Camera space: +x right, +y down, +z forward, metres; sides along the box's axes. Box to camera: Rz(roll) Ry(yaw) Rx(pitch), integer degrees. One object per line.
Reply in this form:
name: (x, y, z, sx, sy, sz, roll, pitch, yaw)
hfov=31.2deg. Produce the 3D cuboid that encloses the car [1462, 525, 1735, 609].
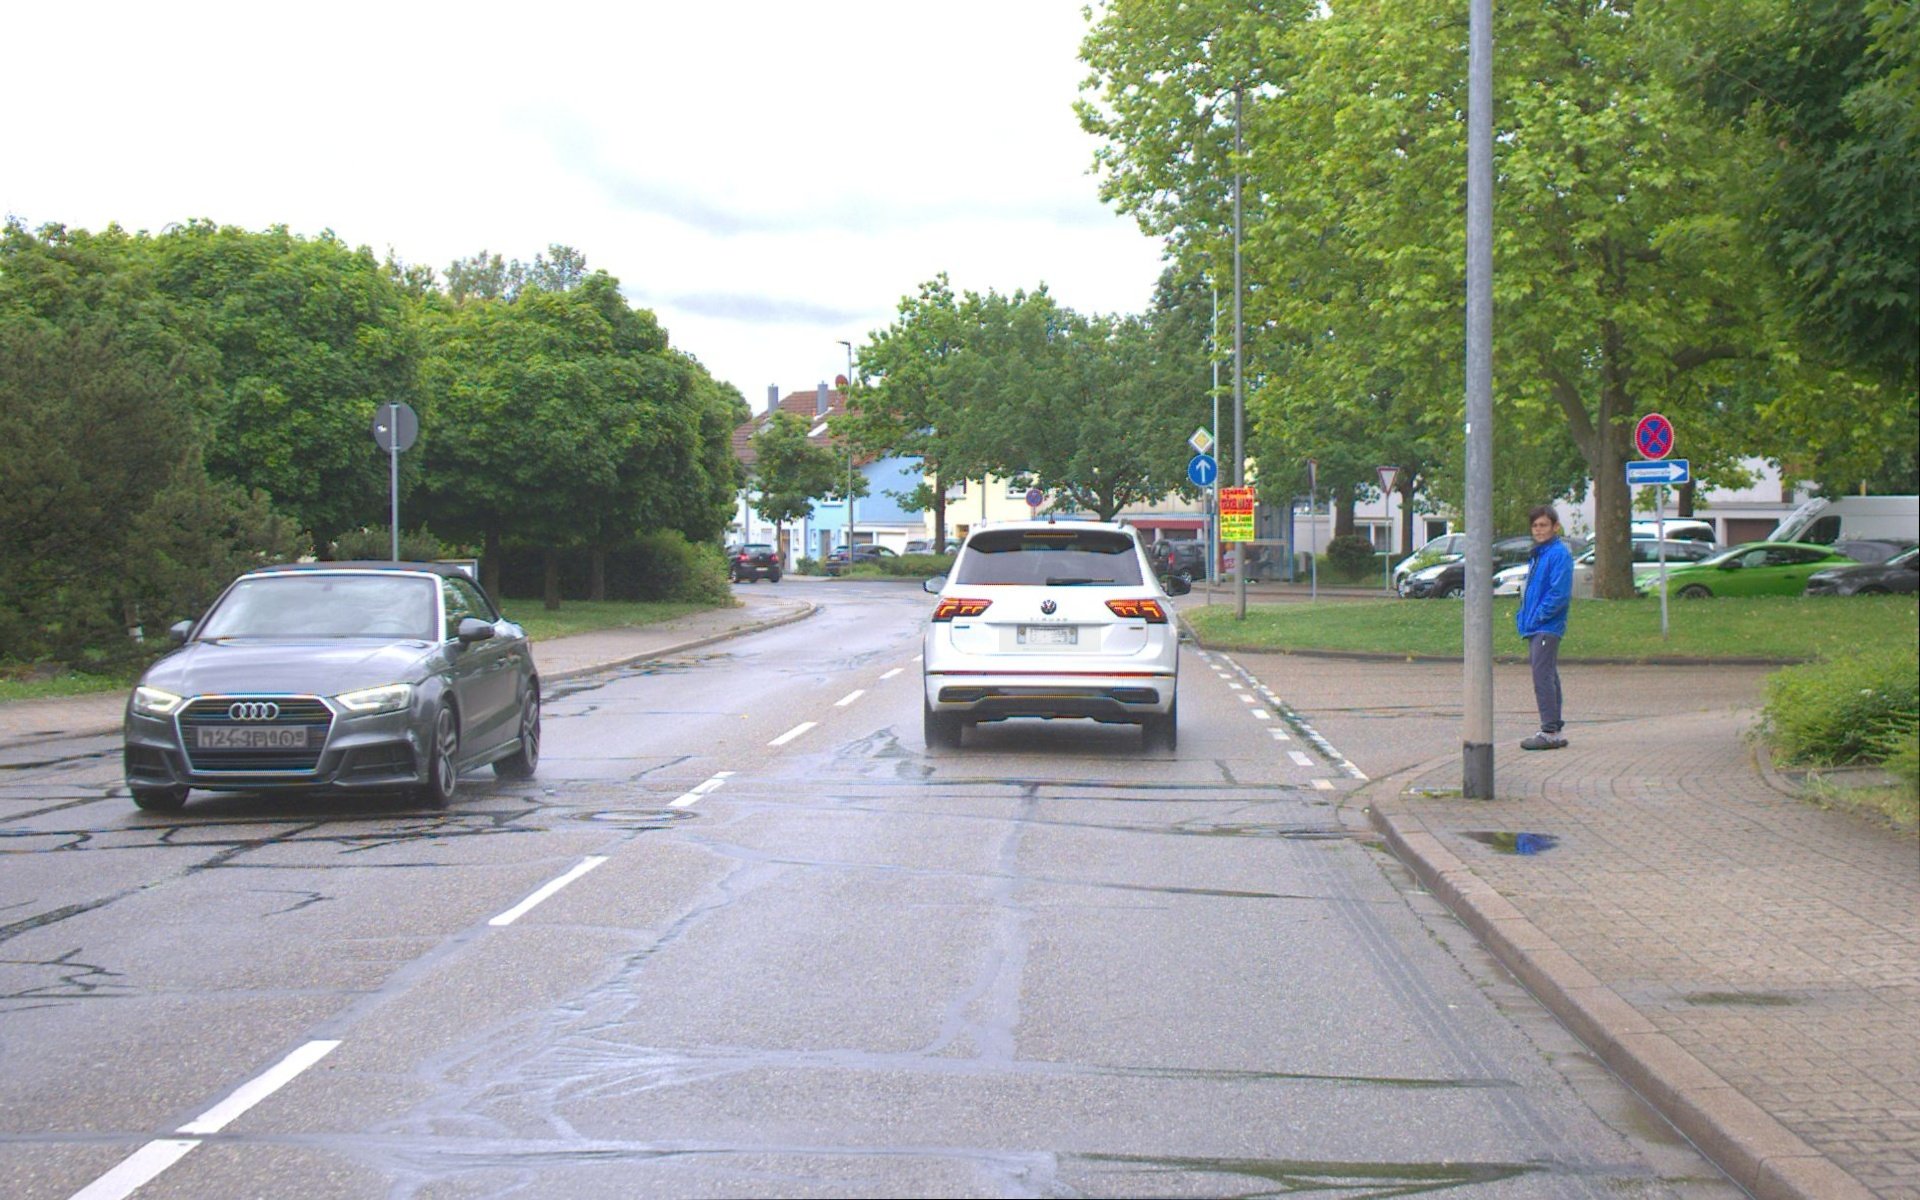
car: (11.547, -0.606, 62.328, 4.572, 1.438, 1.765, -1, 1, -3)

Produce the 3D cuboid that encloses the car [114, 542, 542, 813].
car: (-3.656, 0.382, 20.554, 1.674, 1.438, 4.000, 0, 1, 2)

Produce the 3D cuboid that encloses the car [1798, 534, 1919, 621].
car: (15.938, -0.394, 56.203, 4.009, 1.366, 1.765, -1, 1, -3)

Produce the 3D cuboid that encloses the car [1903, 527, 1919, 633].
car: (16.936, -0.345, 53.501, 4.282, 1.621, 1.763, -1, 1, 13)

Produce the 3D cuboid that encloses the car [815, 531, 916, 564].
car: (-3.985, -2.207, 144.971, 3.988, 1.382, 1.674, 0, 1, -36)

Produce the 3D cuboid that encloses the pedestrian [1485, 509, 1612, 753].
pedestrian: (4.075, 0.202, 23.840, 0.589, 1.660, 0.776, 0, 1, -14)

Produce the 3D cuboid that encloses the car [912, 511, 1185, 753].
car: (0.699, 0.179, 25.768, 1.865, 1.645, 4.000, -1, 1, 3)

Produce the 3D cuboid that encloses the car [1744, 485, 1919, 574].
car: (21.572, -1.679, 80.677, 5.819, 2.007, 2.001, -1, 1, -8)

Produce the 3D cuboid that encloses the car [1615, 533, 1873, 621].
car: (13.544, -0.411, 59.525, 4.009, 1.438, 1.765, -1, 1, -3)

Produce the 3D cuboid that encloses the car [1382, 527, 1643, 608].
car: (10.412, -0.633, 64.930, 4.572, 1.438, 1.765, -1, 1, -3)

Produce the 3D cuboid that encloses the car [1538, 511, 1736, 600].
car: (14.618, -0.979, 74.414, 1.993, 1.874, 4.213, -1, 1, -28)

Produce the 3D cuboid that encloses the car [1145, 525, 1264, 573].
car: (8.875, -1.855, 124.665, 3.987, 1.715, 1.924, -1, 1, -34)

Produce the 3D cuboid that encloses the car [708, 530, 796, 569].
car: (-7.826, -1.910, 128.886, 1.993, 1.415, 4.001, 0, 1, -24)
